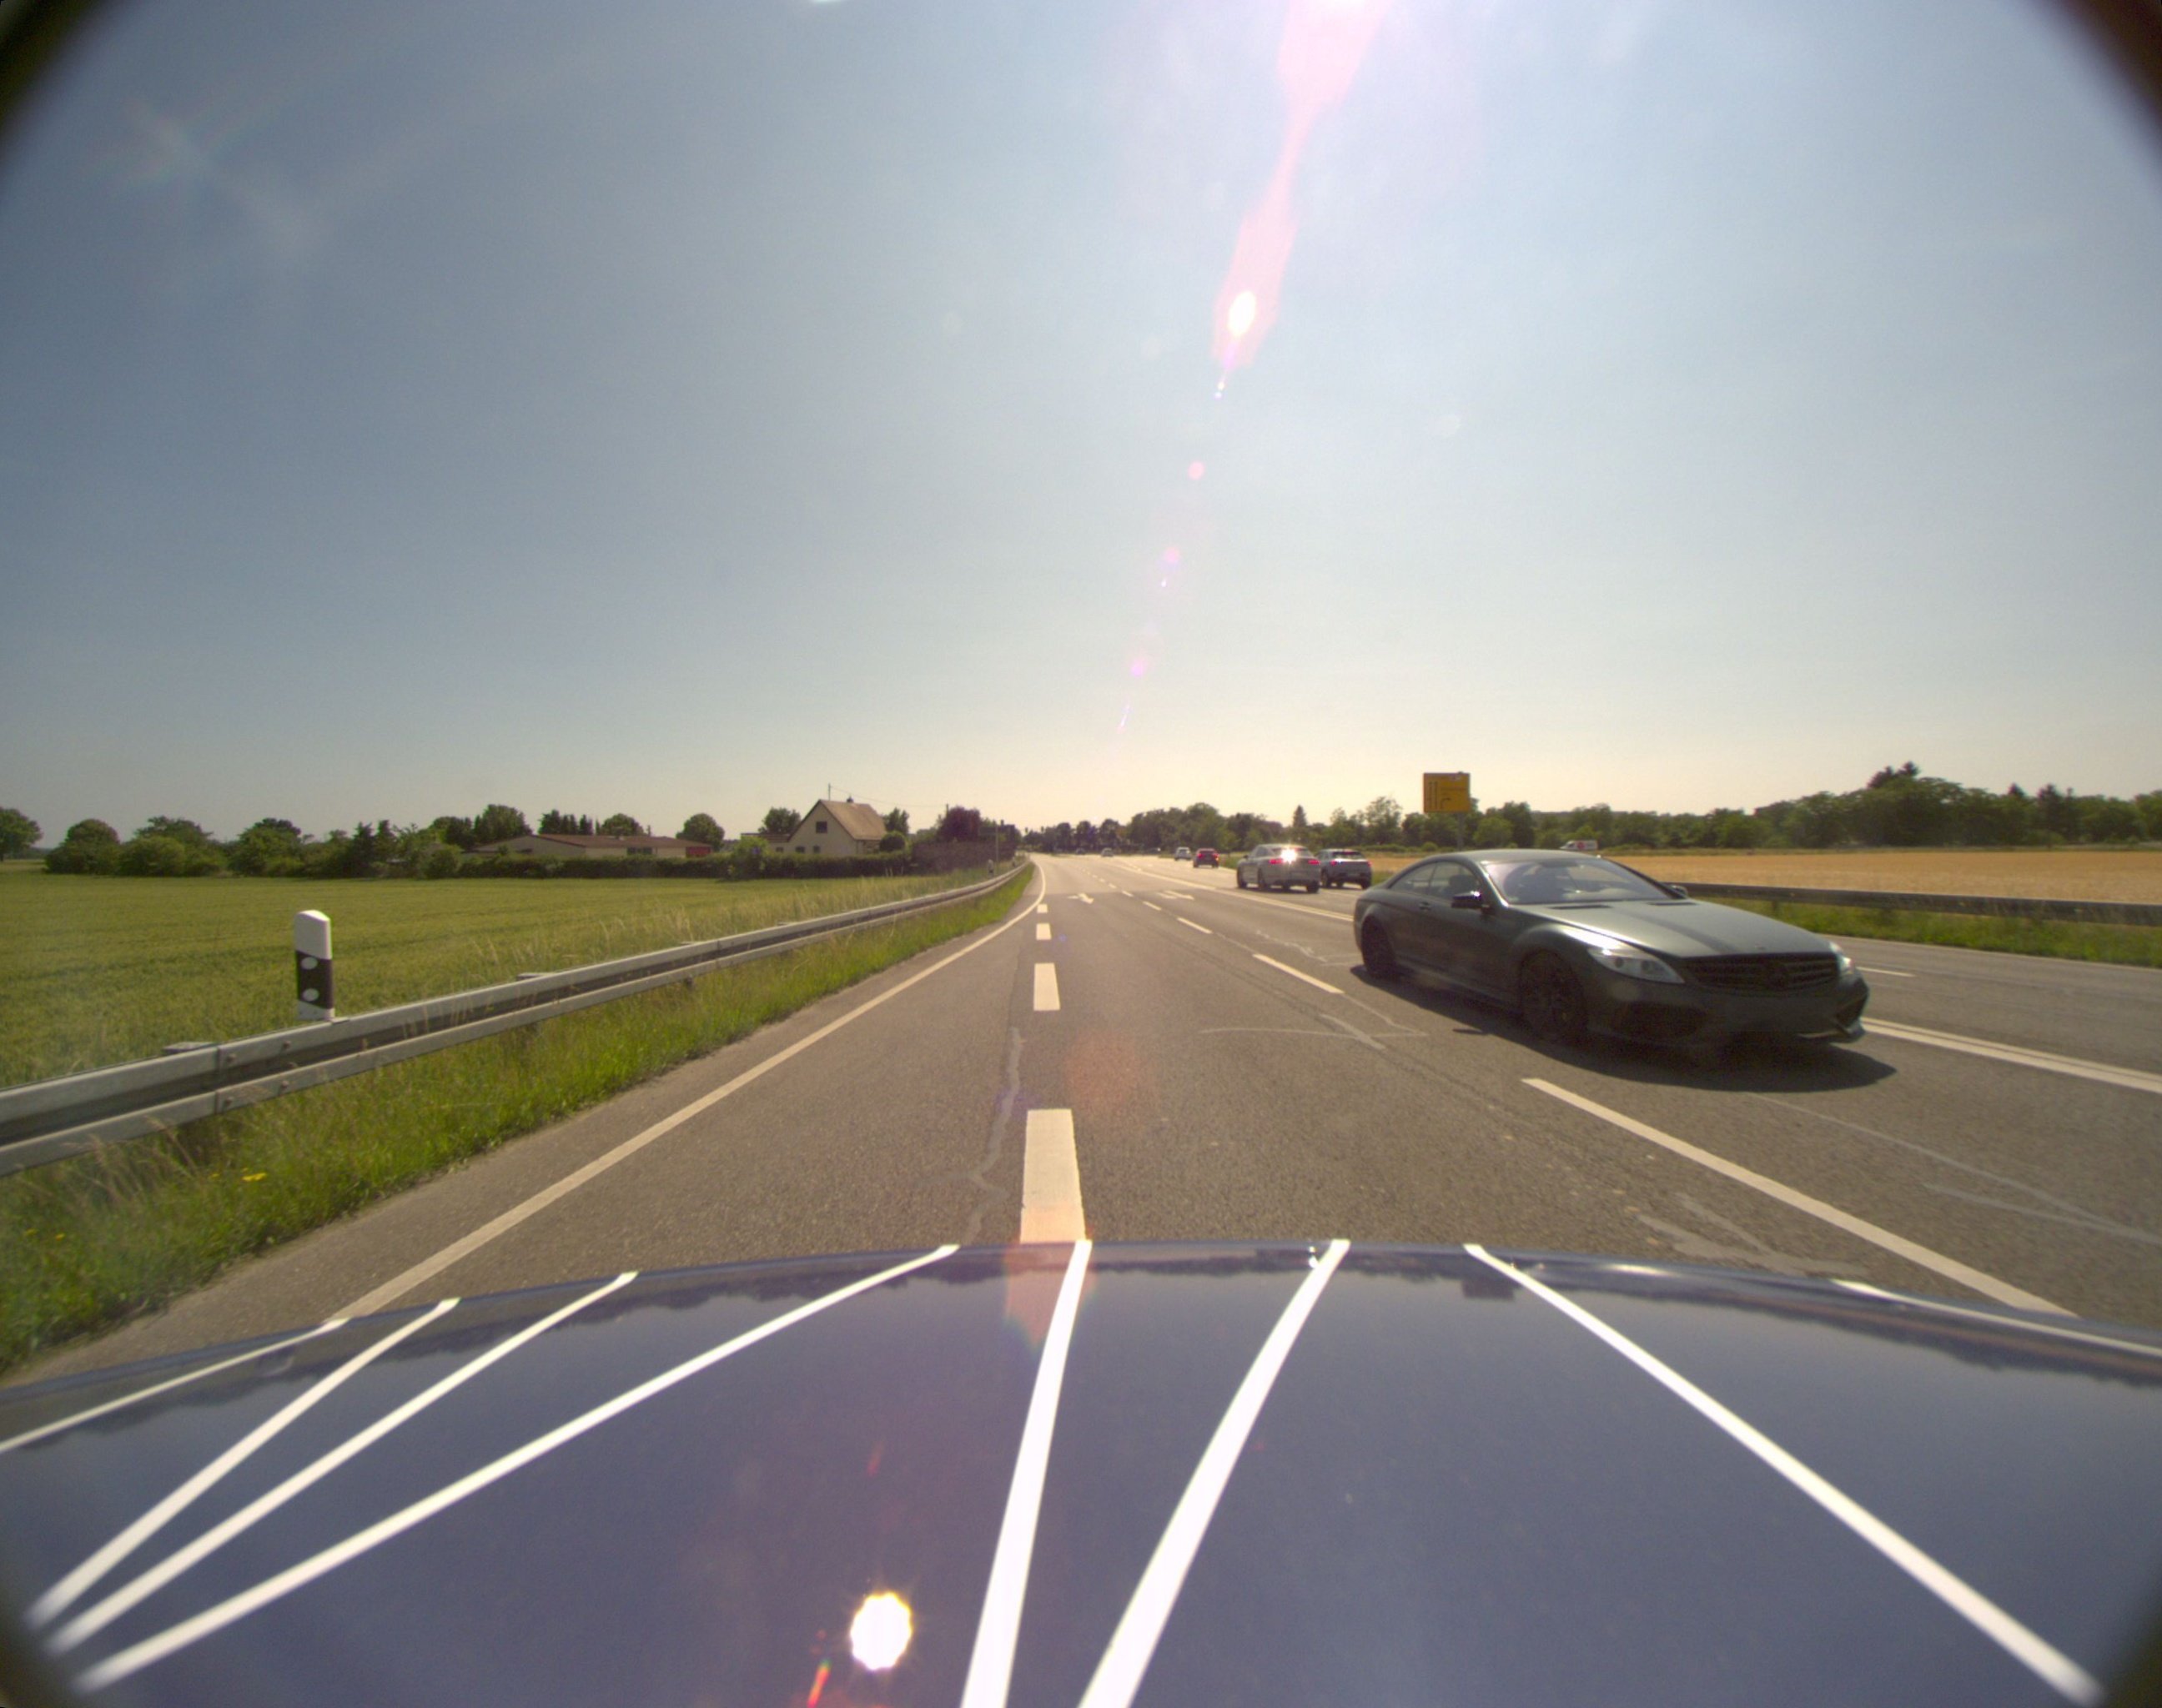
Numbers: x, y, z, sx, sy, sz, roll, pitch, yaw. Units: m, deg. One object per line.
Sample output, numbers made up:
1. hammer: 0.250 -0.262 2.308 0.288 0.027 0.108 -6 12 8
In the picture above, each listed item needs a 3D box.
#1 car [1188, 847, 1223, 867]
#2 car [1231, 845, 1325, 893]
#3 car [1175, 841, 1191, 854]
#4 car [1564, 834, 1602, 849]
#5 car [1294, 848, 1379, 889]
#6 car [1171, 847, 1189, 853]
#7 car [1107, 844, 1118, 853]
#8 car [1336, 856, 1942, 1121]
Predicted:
1. car: 10.262 0.215 62.987 1.999 1.553 4.308 0 1 -2
2. car: 6.983 0.472 27.500 1.845 1.578 4.873 1 1 -3
3. car: 13.268 -0.820 98.939 1.669 1.667 4.463 1 1 2
4. car: 105.165 -2.640 159.213 6.375 2.893 2.000 -2 2 5
5. car: 10.195 0.530 30.659 1.825 1.499 4.125 1 0 -4
6. car: 22.194 -0.946 170.503 3.875 1.379 1.636 -1 0 7
7. car: 5.383 -0.961 130.799 1.753 1.434 4.082 -1 1 3
8. car: 4.207 0.812 7.010 1.816 1.441 4.875 -2 1 -3
